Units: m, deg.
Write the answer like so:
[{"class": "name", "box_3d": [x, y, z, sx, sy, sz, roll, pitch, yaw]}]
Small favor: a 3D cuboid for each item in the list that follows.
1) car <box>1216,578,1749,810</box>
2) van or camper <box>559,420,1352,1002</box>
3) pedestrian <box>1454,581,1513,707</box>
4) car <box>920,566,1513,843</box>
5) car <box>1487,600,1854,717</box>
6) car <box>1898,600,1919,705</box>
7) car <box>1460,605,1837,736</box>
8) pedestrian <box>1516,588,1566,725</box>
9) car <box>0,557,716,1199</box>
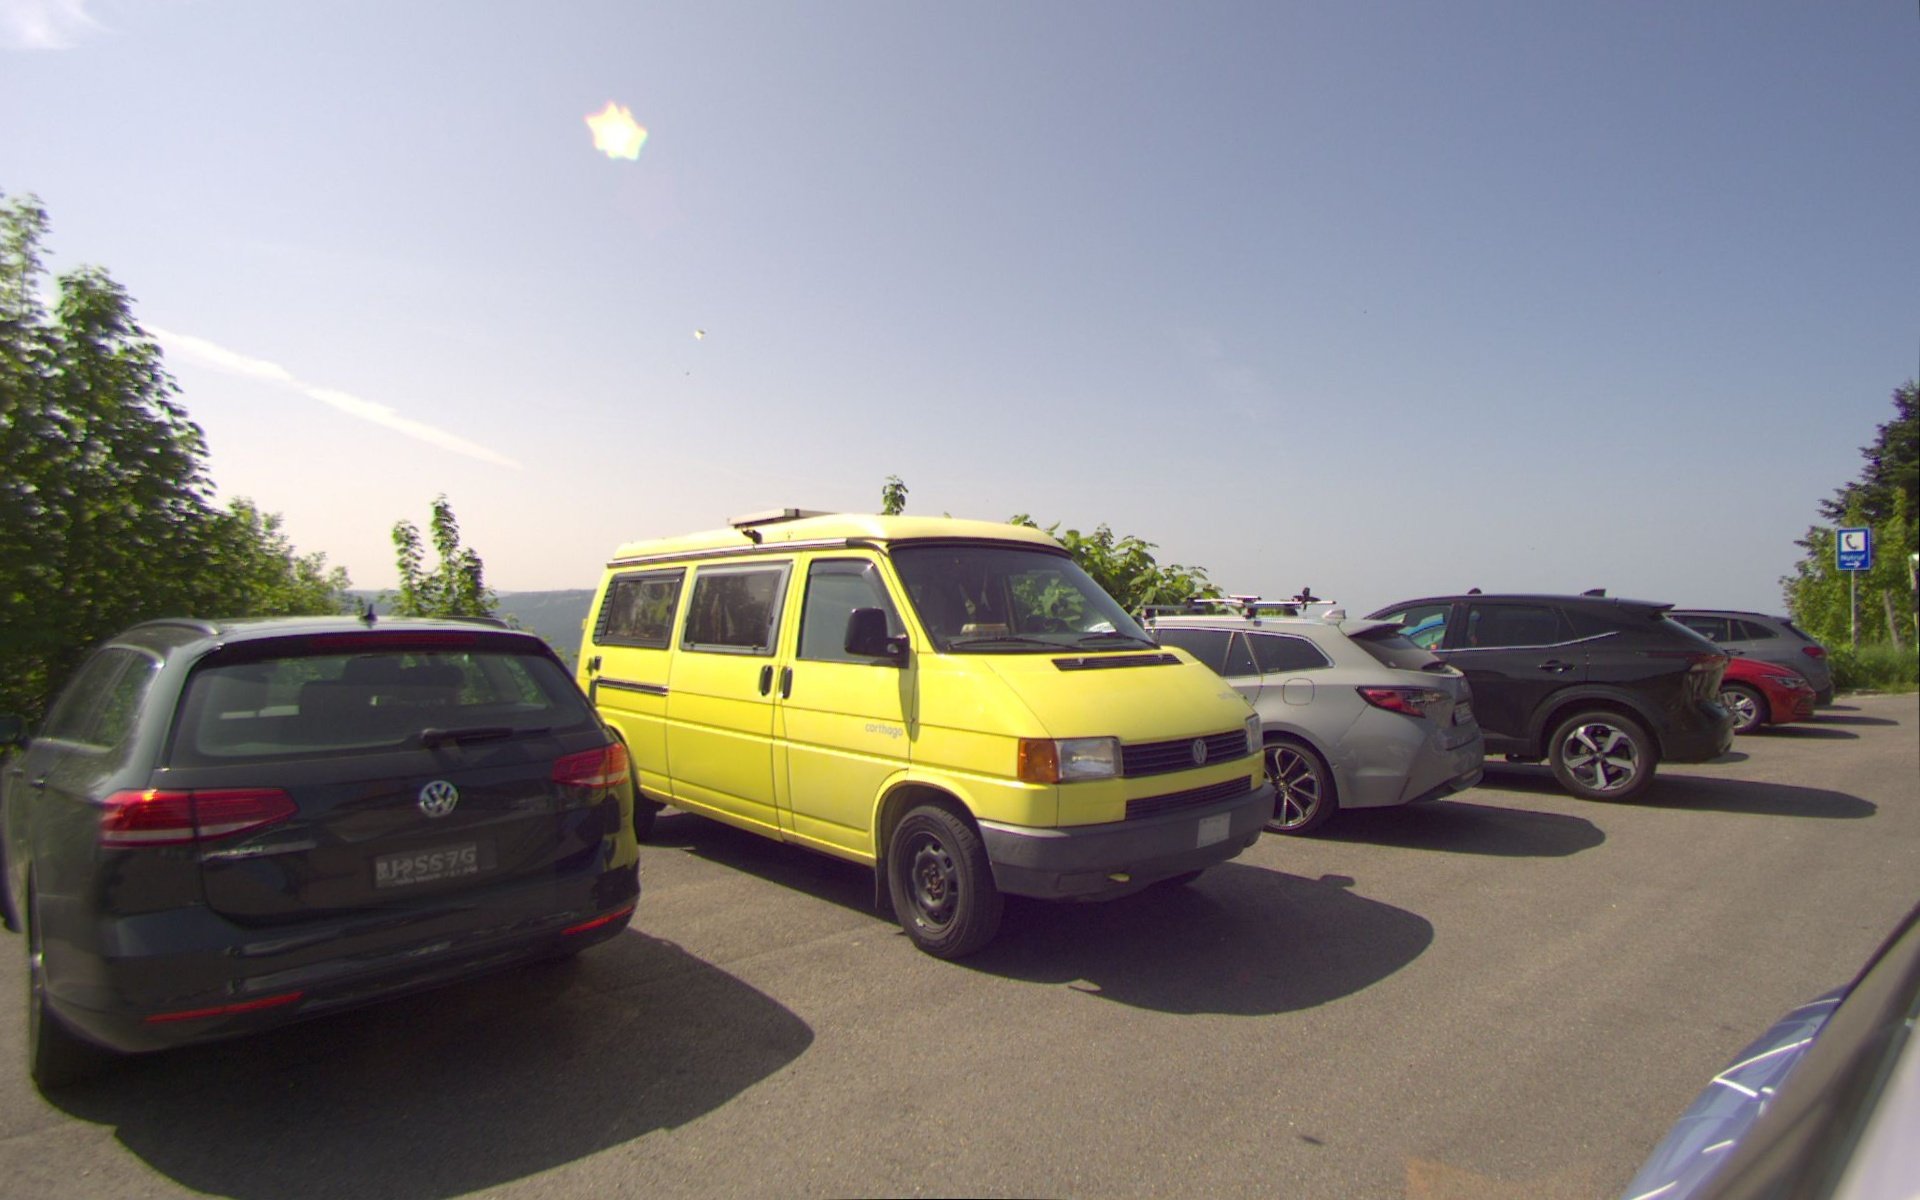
[{"class": "car", "box_3d": [4.565, 0.687, 9.120, 3.979, 1.634, 1.890, -1, -1, 39]}, {"class": "van or camper", "box_3d": [-0.542, 0.481, 6.089, 1.850, 2.040, 5.095, 1, -3, -42]}, {"class": "pedestrian", "box_3d": [8.192, 0.678, 15.840, 0.608, 1.924, 0.668, -3, -2, 42]}, {"class": "car", "box_3d": [1.808, 0.639, 7.830, 4.140, 1.609, 1.682, -1, -1, 37]}, {"class": "car", "box_3d": [10.728, 0.849, 15.683, 4.378, 1.589, 1.885, -1, -2, 33]}, {"class": "car", "box_3d": [17.127, 0.822, 15.408, 4.065, 1.637, 1.988, 1, -2, -8]}, {"class": "car", "box_3d": [9.100, 0.844, 13.711, 3.972, 1.529, 1.819, 0, -1, 34]}, {"class": "pedestrian", "box_3d": [7.611, 0.731, 13.268, 0.501, 1.747, 0.561, -2, -2, 31]}, {"class": "car", "box_3d": [-3.019, 0.748, 4.491, 1.783, 1.507, 4.351, 1, -3, -45]}]
